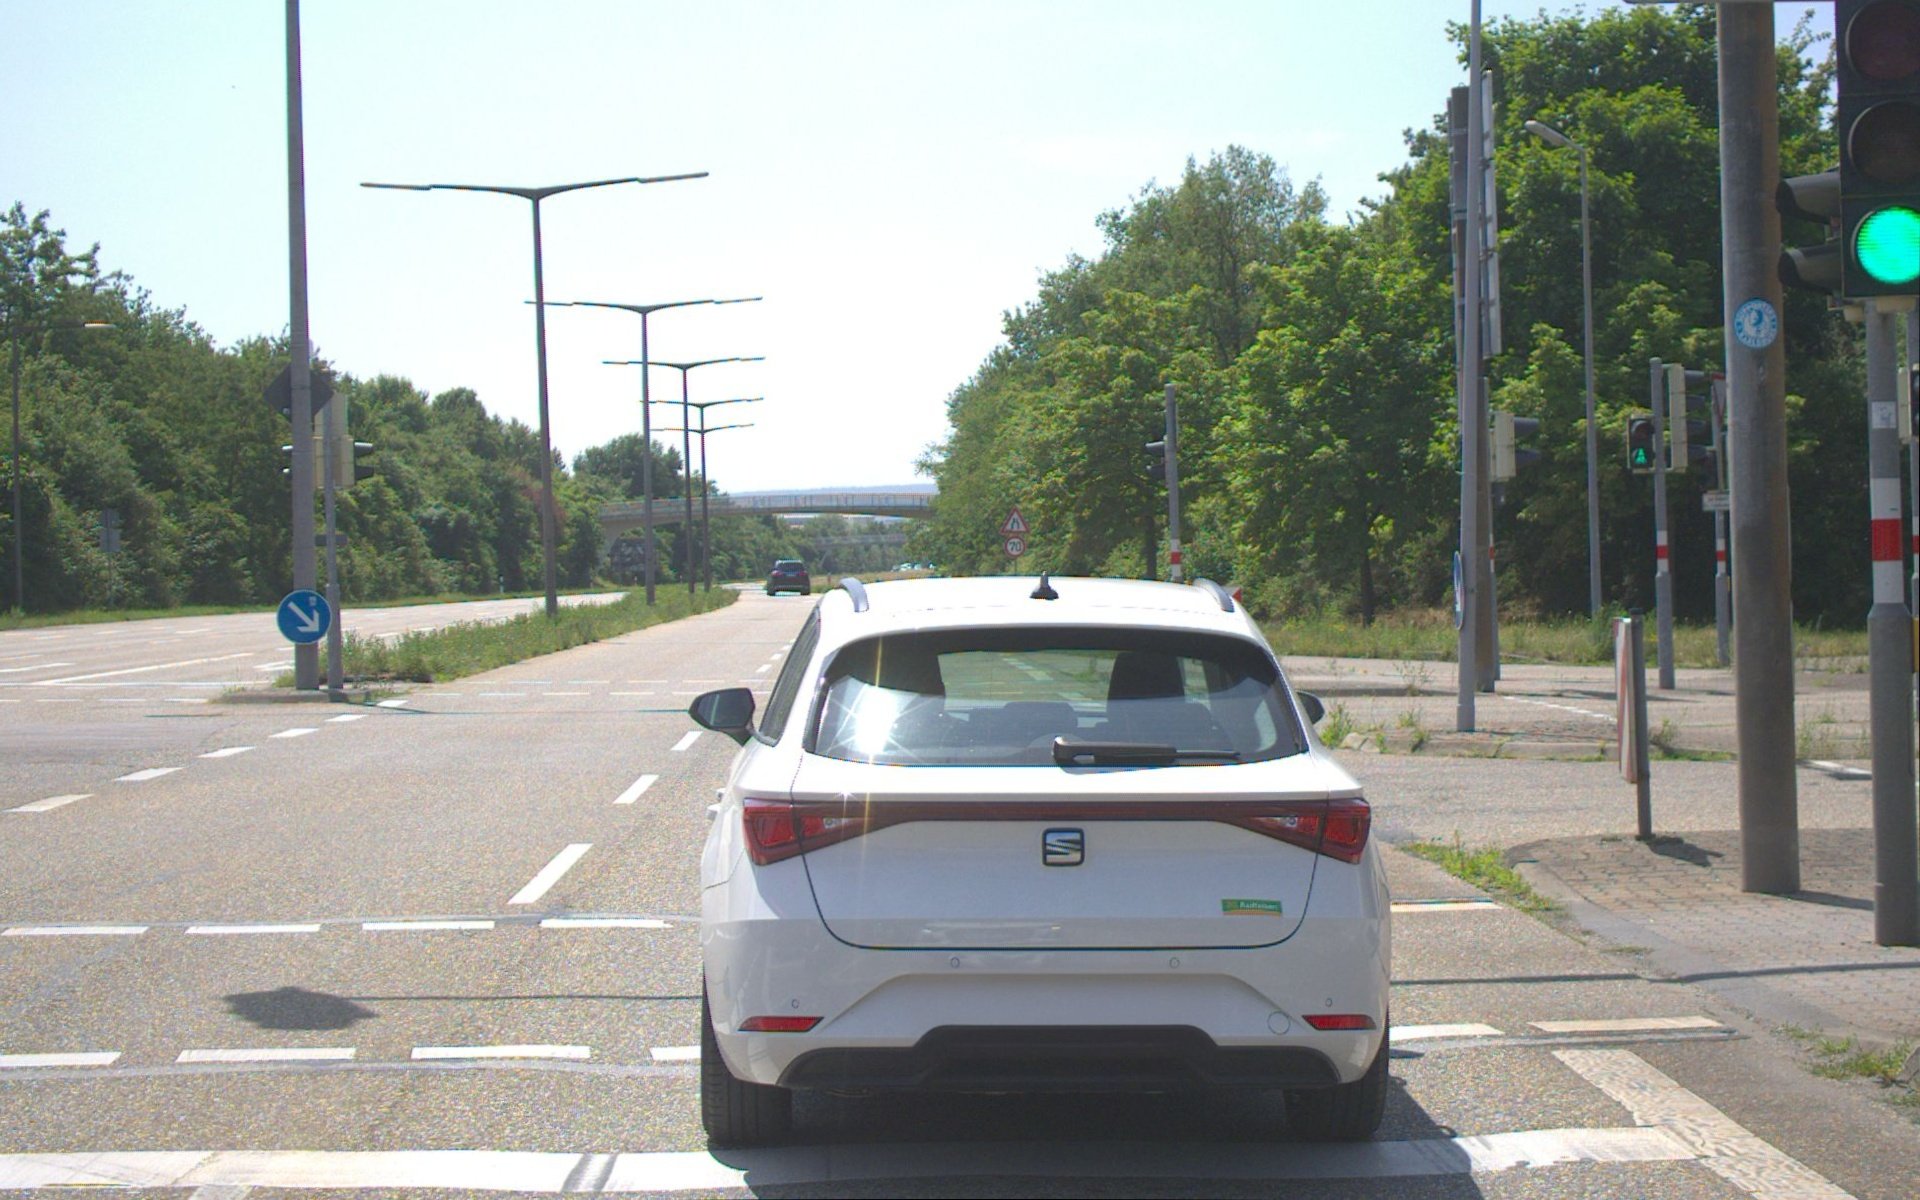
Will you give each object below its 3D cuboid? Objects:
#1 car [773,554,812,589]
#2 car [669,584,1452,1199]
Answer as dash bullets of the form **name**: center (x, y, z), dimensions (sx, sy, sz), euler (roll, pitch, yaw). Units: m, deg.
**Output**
- **car**: center (-8.695, -1.492, 178.597), dimensions (1.855, 1.703, 4.000), euler (-2, 1, -1)
- **car**: center (0.198, 0.683, 9.530), dimensions (1.734, 1.424, 3.694), euler (1, 0, -1)
